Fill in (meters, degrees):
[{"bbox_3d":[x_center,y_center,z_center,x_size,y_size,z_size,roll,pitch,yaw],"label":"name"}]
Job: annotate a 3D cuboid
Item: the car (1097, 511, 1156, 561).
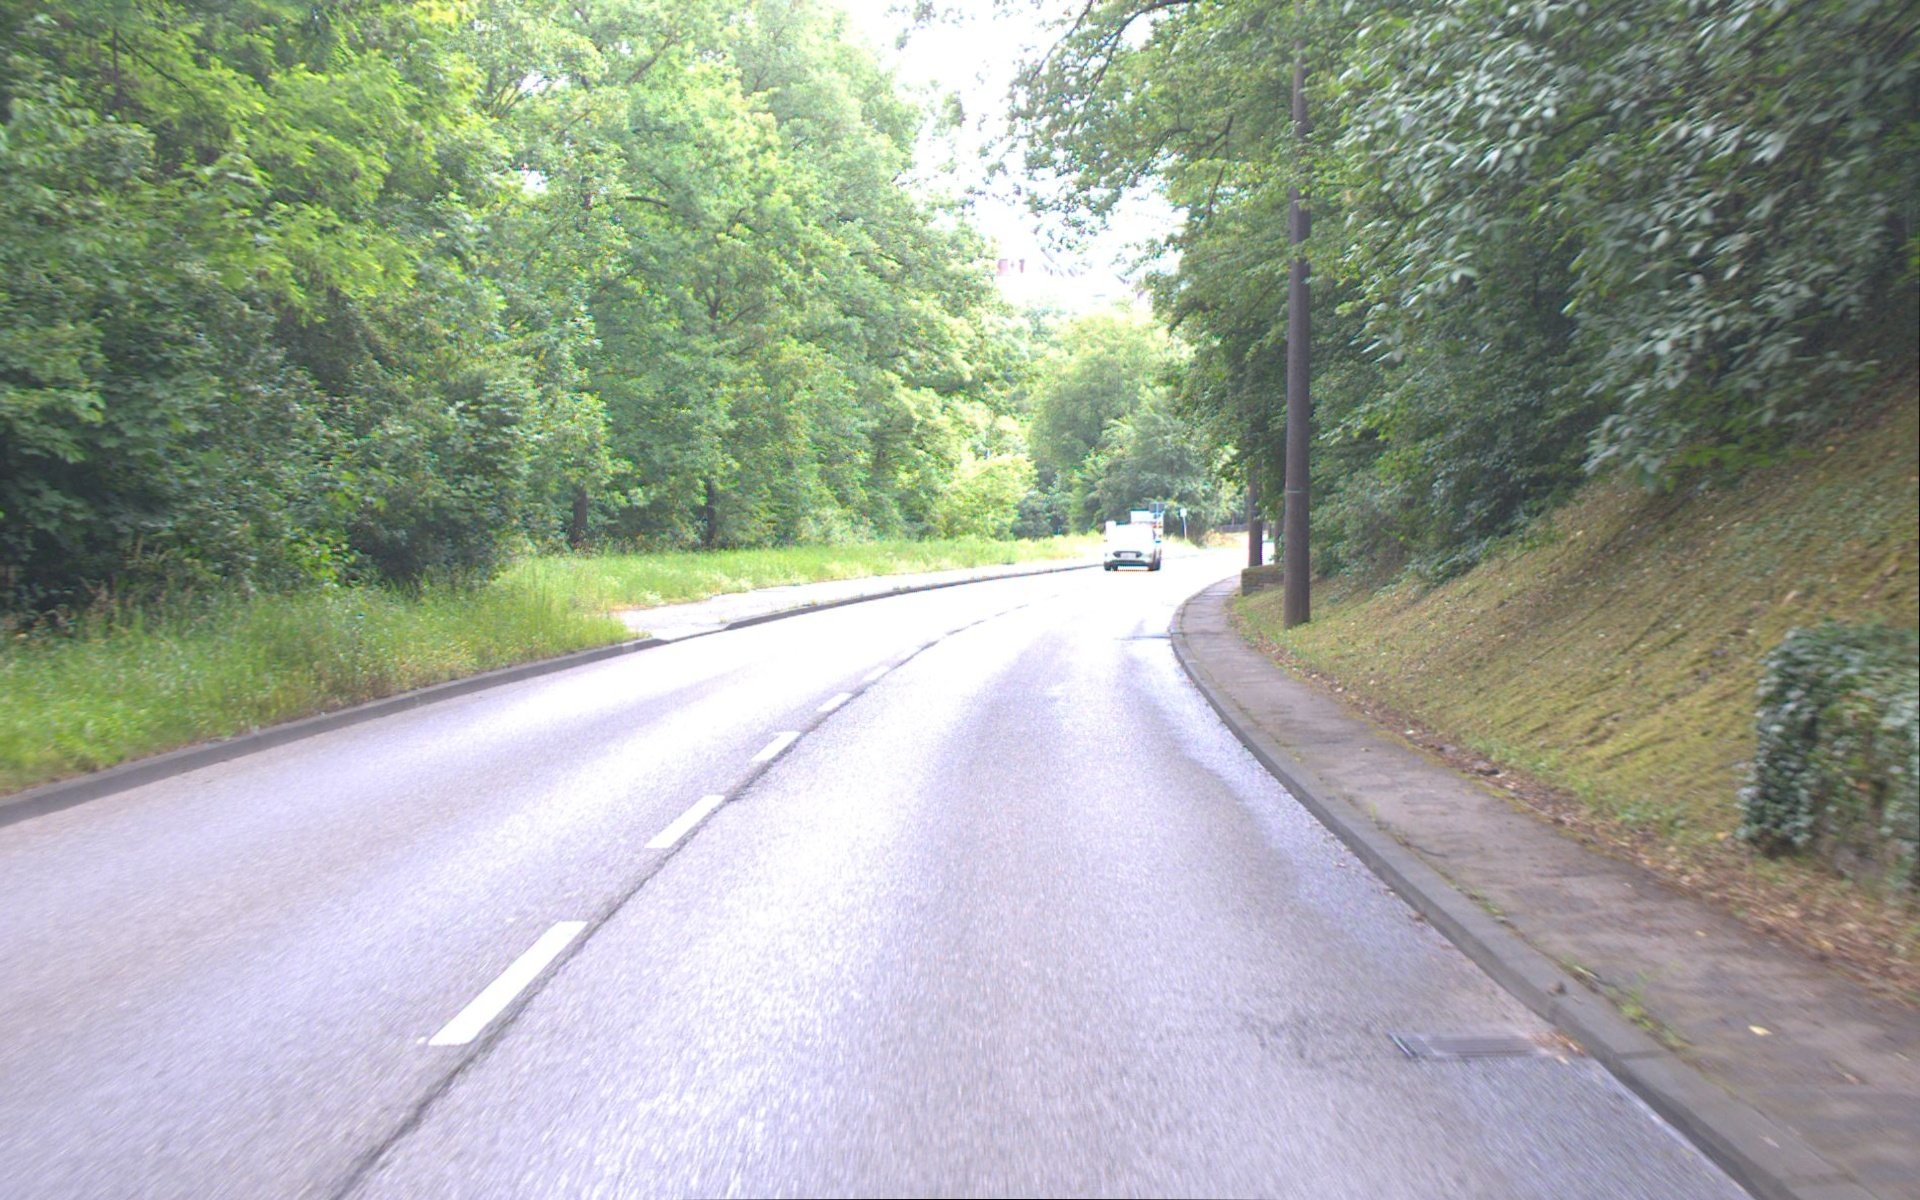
[{"bbox_3d":[6.153,-2.329,126.516,1.994,1.747,4.781,1,0,4],"label":"car"}]
